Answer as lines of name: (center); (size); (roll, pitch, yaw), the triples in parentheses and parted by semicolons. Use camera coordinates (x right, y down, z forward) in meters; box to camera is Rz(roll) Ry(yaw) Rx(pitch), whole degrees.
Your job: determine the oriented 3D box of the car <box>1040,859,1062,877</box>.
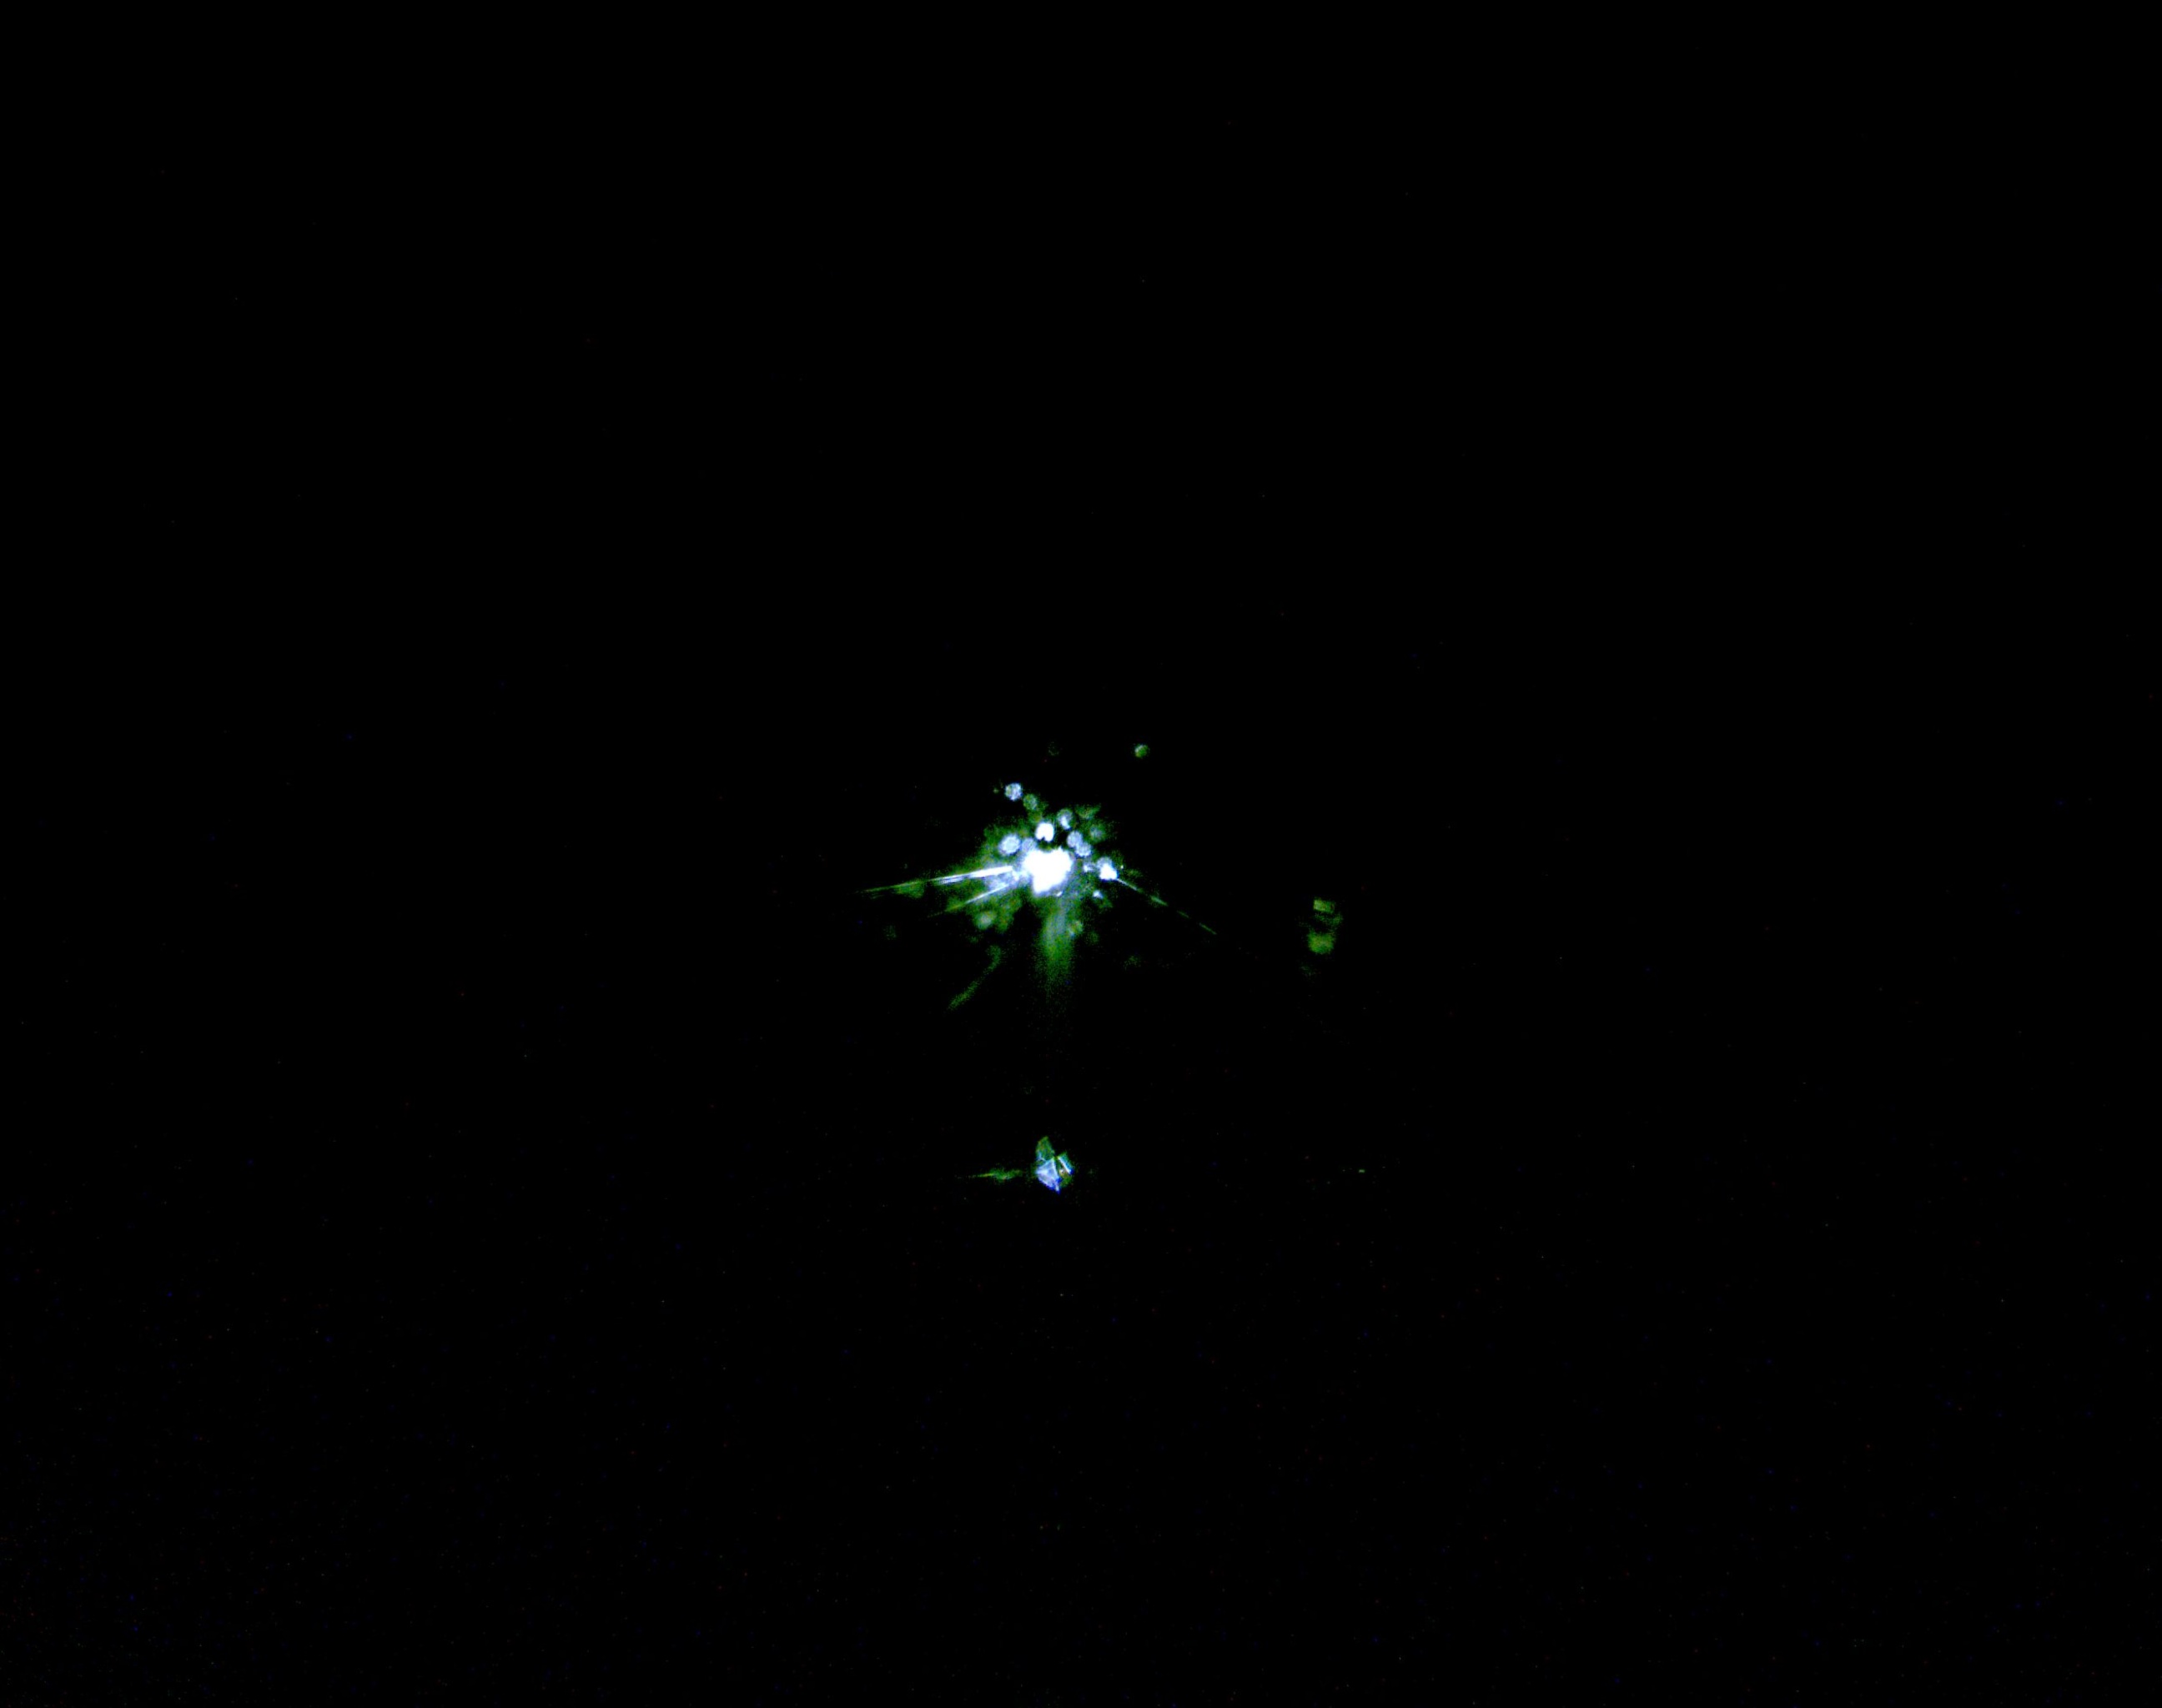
car: (-2.698, 1.222, 73.687); (1.824, 1.568, 3.779); (0, -1, 0)
